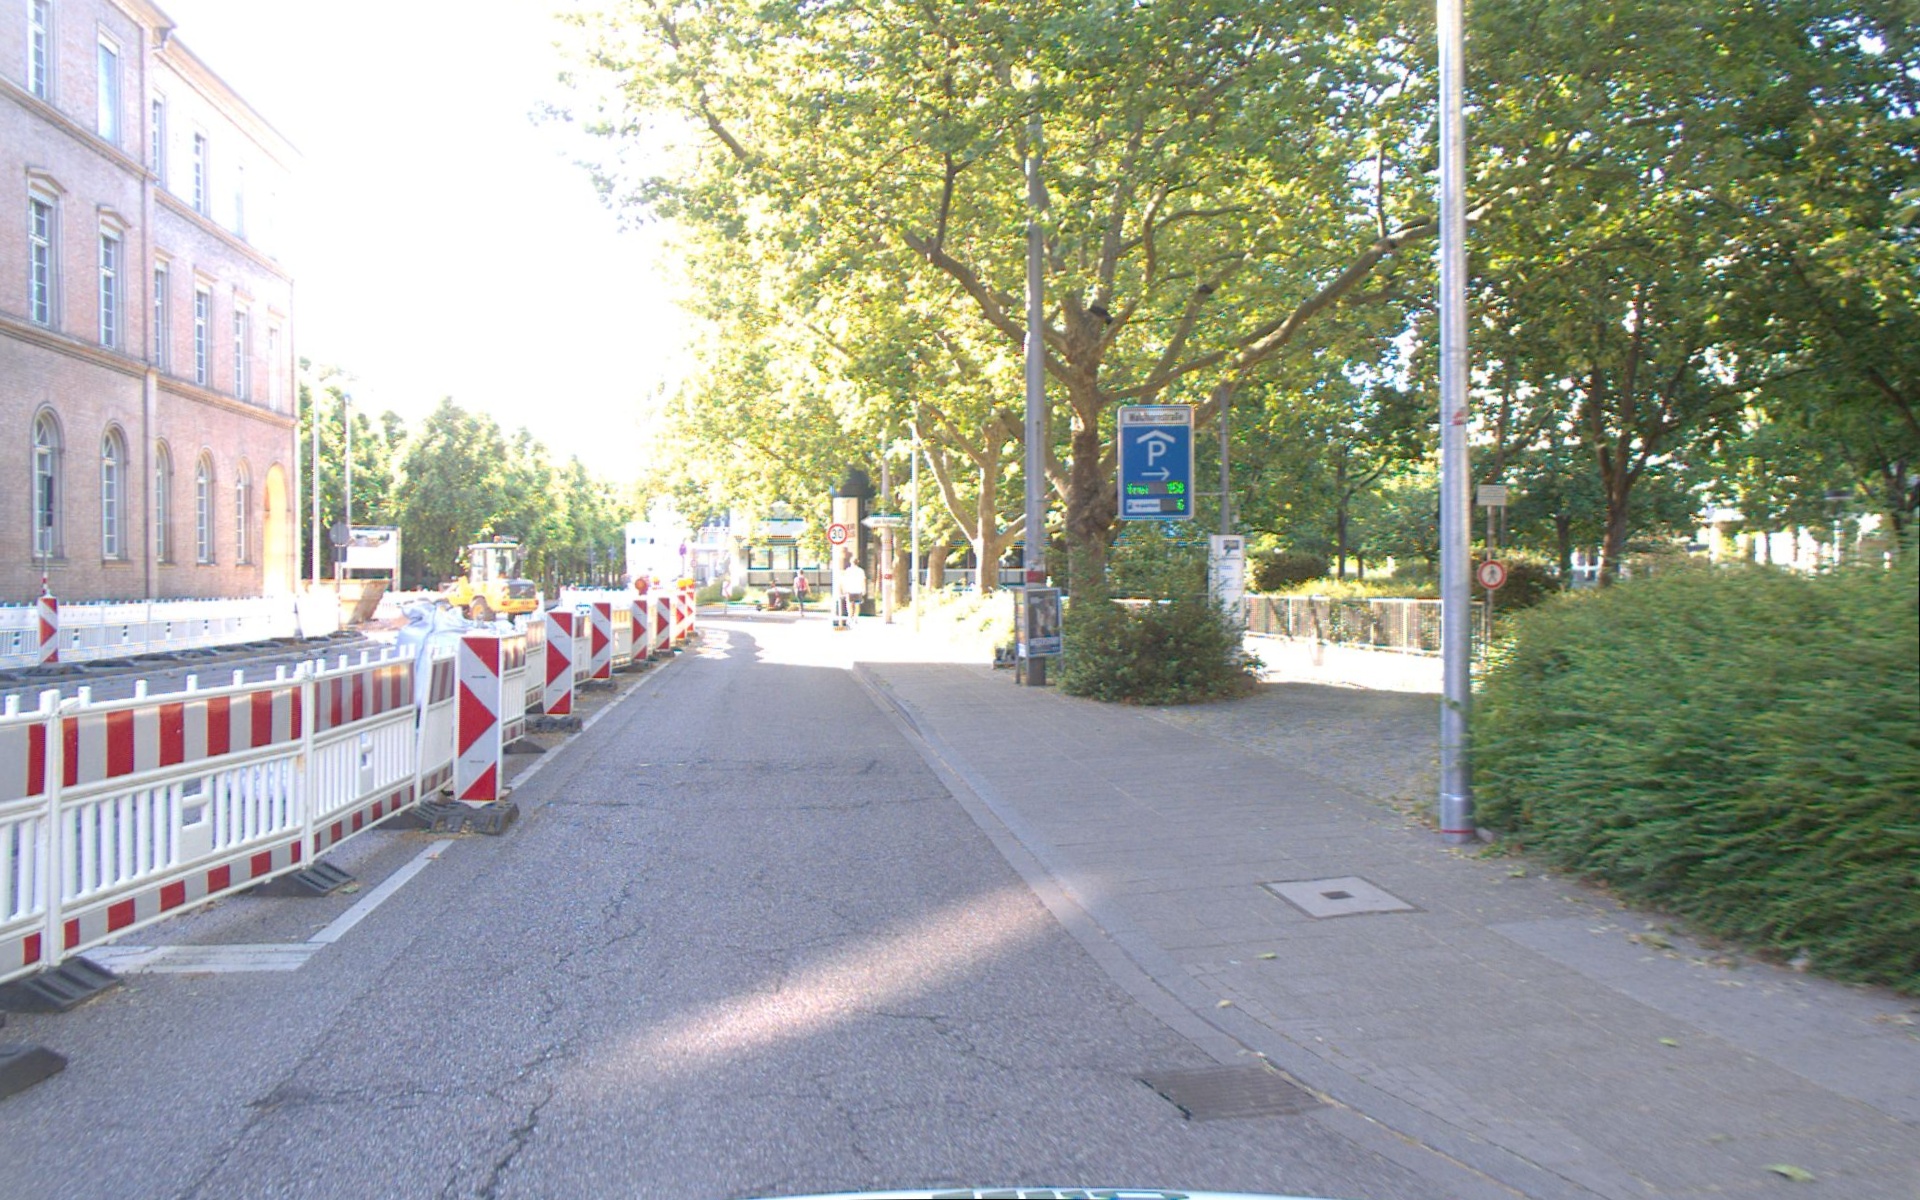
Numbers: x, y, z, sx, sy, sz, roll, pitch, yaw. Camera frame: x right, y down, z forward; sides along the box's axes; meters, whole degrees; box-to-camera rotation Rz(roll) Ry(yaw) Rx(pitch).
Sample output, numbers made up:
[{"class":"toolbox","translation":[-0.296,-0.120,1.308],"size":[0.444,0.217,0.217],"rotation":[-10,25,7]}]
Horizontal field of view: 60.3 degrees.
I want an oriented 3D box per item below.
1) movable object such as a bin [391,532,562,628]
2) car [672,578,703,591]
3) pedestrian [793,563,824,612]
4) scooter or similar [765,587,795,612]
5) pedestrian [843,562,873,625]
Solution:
[{"class":"movable object such as a bin","translation":[-16.324,-0.644,55.739],"size":[5.815,3.084,2.557],"rotation":[-1,1,37]},{"class":"car","translation":[-40.984,-2.343,248.973],"size":[4.472,1.822,1.996],"rotation":[0,1,-8]},{"class":"pedestrian","translation":[-5.245,-0.430,57.262],"size":[0.703,1.651,0.926],"rotation":[-1,0,-38]},{"class":"scooter or similar","translation":[-7.106,-0.014,65.350],"size":[1.127,0.930,0.418],"rotation":[-2,0,-15]},{"class":"pedestrian","translation":[-3.074,-0.203,49.720],"size":[0.731,1.844,1.131],"rotation":[0,1,-11]}]
